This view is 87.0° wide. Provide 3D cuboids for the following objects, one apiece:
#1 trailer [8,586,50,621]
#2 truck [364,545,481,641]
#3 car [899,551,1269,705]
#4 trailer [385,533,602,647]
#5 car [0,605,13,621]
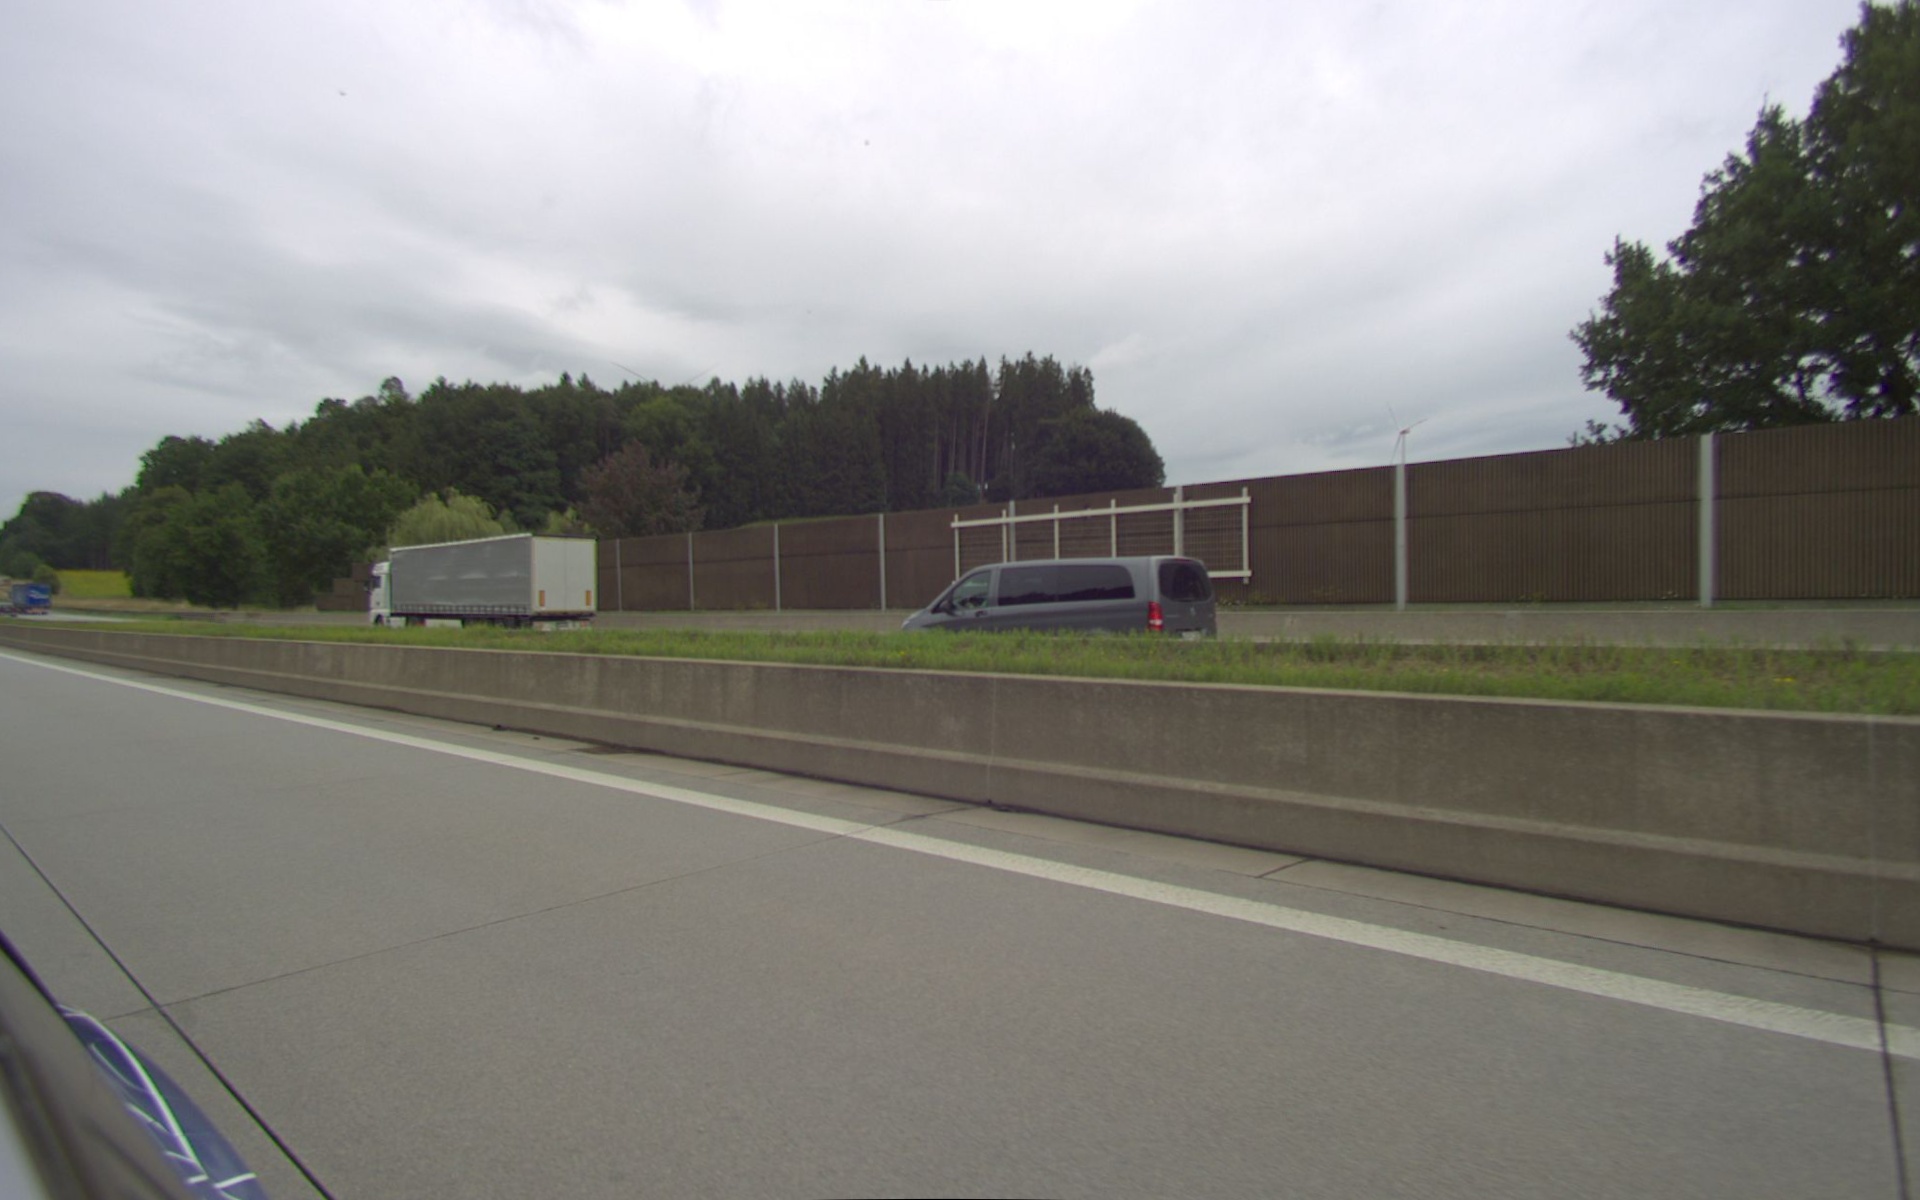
[{"bbox_3d":[-123.726,0.356,134.394,13.788,4.240,2.682,1,2,41],"label":"trailer"},{"bbox_3d":[-24.686,-0.280,46.374,6.214,4.114,2.655,-1,0,41],"label":"truck"},{"bbox_3d":[1.678,0.365,15.208,5.342,1.934,1.973,-1,0,41],"label":"car"},{"bbox_3d":[-19.818,-0.327,42.152,13.997,4.127,2.669,-1,0,41],"label":"trailer"},{"bbox_3d":[-112.740,1.527,118.782,4.729,1.780,1.798,0,1,41],"label":"car"}]
